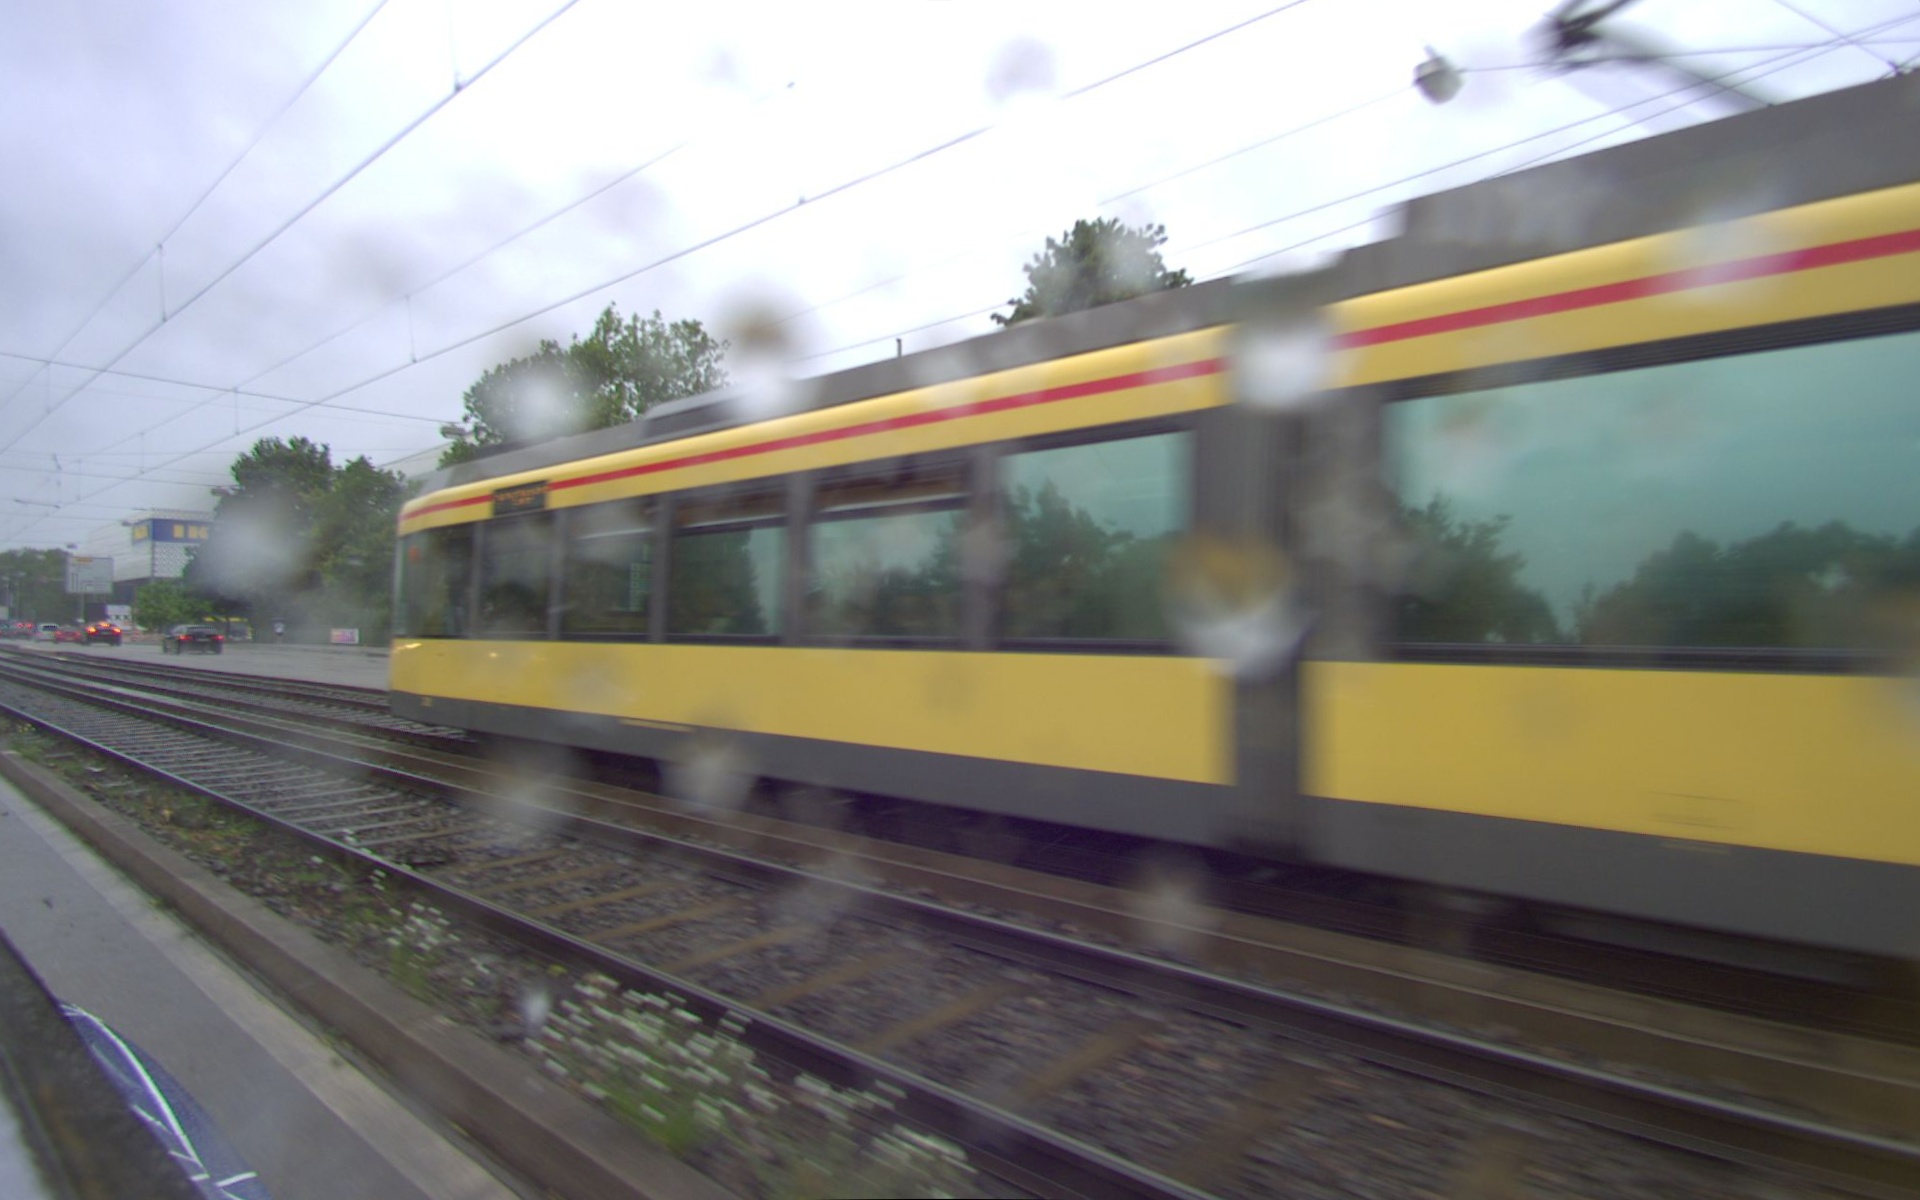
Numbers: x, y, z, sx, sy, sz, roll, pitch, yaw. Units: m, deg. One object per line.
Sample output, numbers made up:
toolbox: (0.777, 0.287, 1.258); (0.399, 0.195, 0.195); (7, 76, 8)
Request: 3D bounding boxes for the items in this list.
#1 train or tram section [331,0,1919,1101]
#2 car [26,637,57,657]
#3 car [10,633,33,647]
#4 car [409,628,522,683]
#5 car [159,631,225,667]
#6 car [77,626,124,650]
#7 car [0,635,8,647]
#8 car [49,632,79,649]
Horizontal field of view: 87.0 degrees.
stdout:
train or tram section: (-0.184, -0.086, 7.941); (17.877, 3.734, 2.835); (-2, -1, 41)
car: (-89.441, 4.588, 98.553); (3.999, 1.924, 1.821); (-3, -3, 42)
car: (-113.957, 4.870, 122.927); (3.999, 1.557, 1.685); (-3, -3, 42)
car: (-16.277, 1.788, 33.214); (4.346, 1.655, 1.867); (-3, -1, 42)
car: (-38.587, 2.441, 50.832); (4.396, 1.655, 1.867); (-3, -1, 42)
car: (-61.246, 2.732, 72.107); (4.870, 1.665, 1.916); (-3, -3, 42)
car: (-128.142, 5.424, 134.911); (4.001, 1.557, 1.625); (-3, -4, 44)
car: (-76.534, 3.478, 86.392); (1.684, 1.465, 4.002); (2, -4, -45)
